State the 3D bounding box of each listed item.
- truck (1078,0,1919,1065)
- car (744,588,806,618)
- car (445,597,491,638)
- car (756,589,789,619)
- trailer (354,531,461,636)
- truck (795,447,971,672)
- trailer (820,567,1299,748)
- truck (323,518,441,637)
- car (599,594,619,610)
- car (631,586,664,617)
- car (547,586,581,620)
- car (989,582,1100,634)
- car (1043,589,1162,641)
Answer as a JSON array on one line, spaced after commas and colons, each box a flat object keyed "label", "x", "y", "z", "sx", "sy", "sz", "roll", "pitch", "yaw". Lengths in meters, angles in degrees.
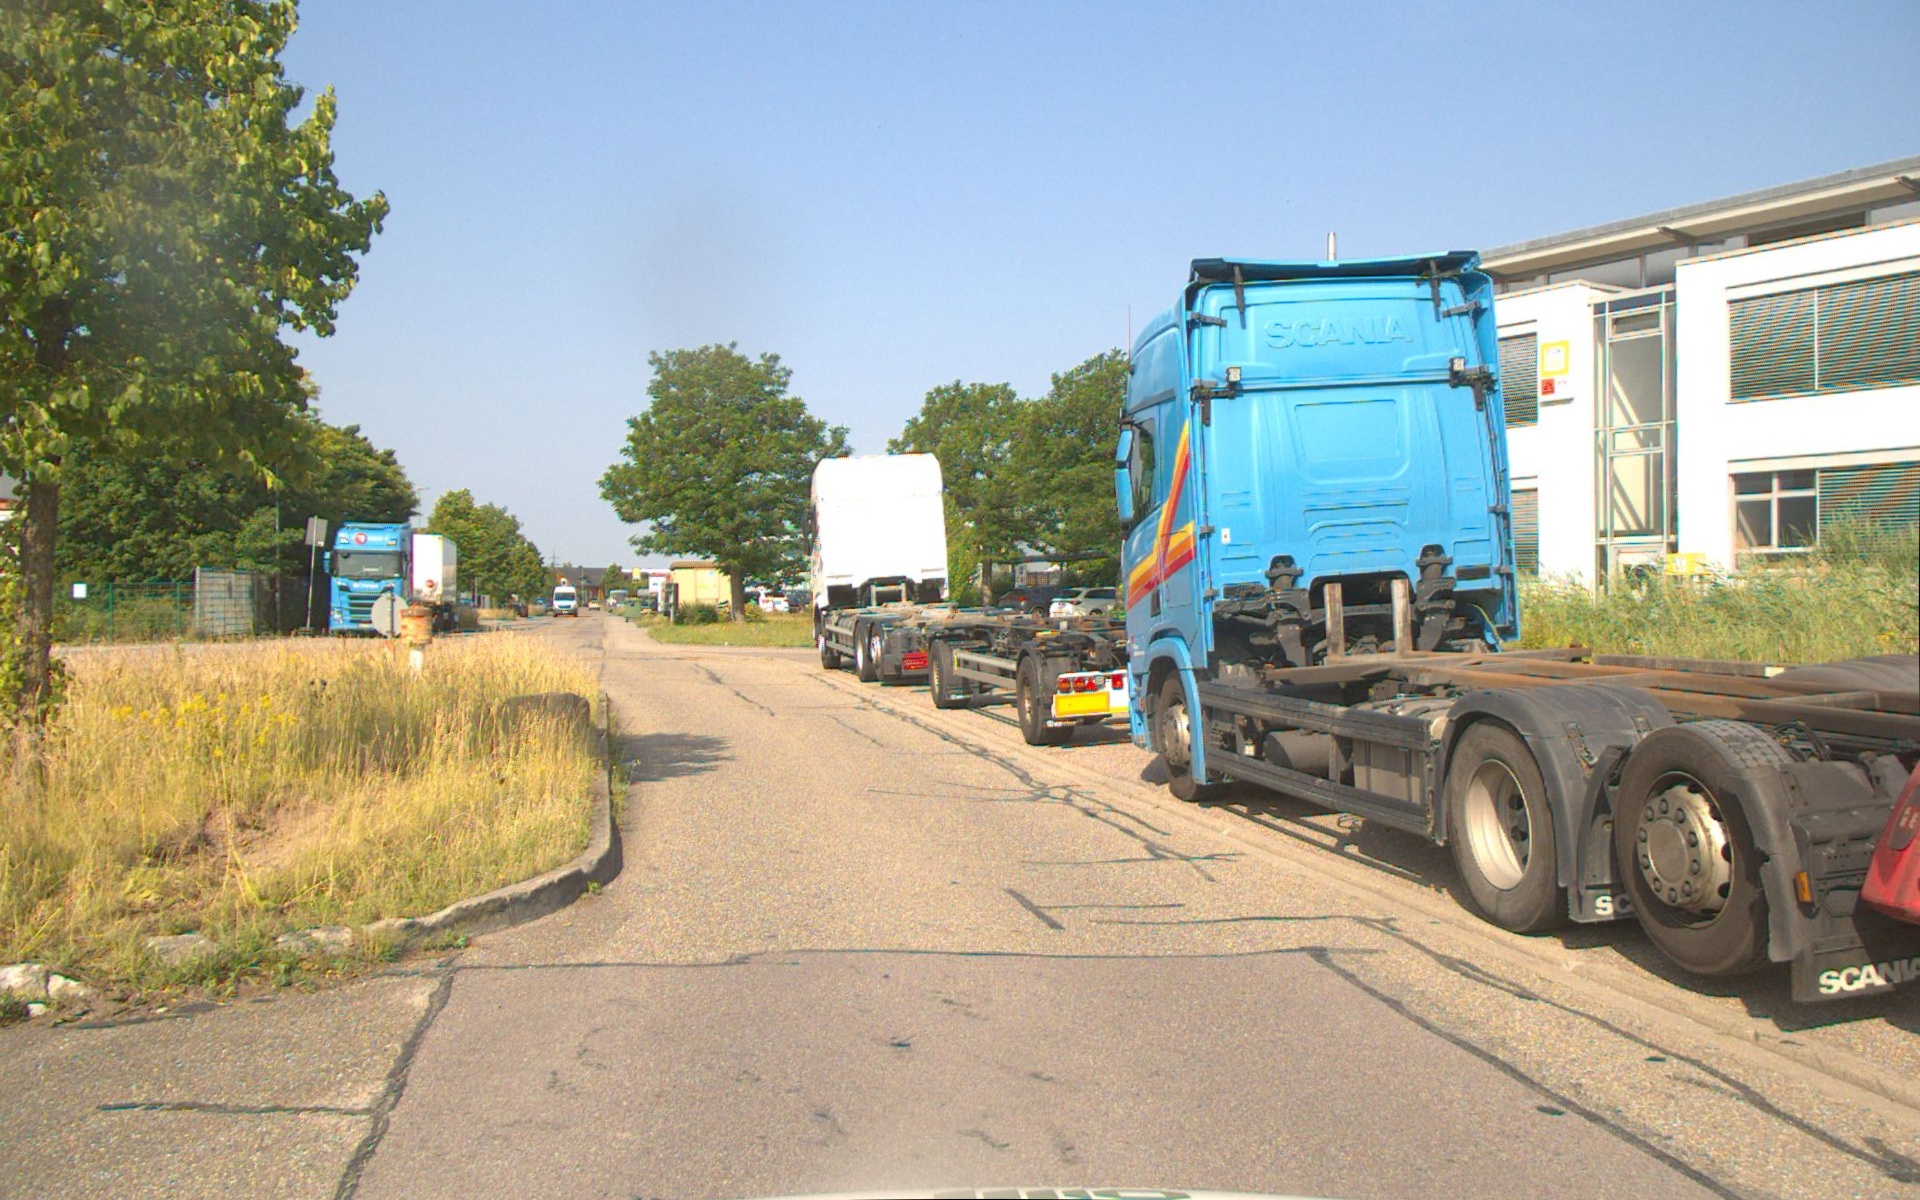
[{"label": "truck", "x": 3.443, "y": -0.395, "z": 9.347, "sx": 2.838, "sy": 3.596, "sz": 9.726, "roll": -4, "pitch": 0, "yaw": -11}, {"label": "car", "x": -8.725, "y": 0.157, "z": 77.822, "sx": 1.649, "sy": 1.353, "sz": 3.629, "roll": 2, "pitch": -2, "yaw": -28}, {"label": "car", "x": -25.449, "y": 0.876, "z": 85.458, "sx": 1.966, "sy": 2.049, "sz": 3.973, "roll": 0, "pitch": 0, "yaw": -22}, {"label": "car", "x": -10.749, "y": 0.254, "z": 94.861, "sx": 1.686, "sy": 1.646, "sz": 3.991, "roll": 1, "pitch": -1, "yaw": -9}, {"label": "trailer", "x": -22.558, "y": -0.496, "z": 68.136, "sx": 2.782, "sy": 3.910, "sz": 11.996, "roll": 2, "pitch": -1, "yaw": -12}, {"label": "truck", "x": -1.609, "y": -0.763, "z": 32.685, "sx": 2.698, "sy": 4.051, "sz": 3.988, "roll": -3, "pitch": 0, "yaw": -12}, {"label": "trailer", "x": 0.333, "y": 0.563, "z": 23.855, "sx": 2.698, "sy": 1.601, "sz": 16.122, "roll": -3, "pitch": 0, "yaw": -12}, {"label": "truck", "x": -20.777, "y": -0.662, "z": 59.947, "sx": 2.776, "sy": 3.893, "sz": 9.641, "roll": 2, "pitch": -1, "yaw": -12}, {"label": "car", "x": -42.304, "y": 0.299, "z": 199.308, "sx": 1.746, "sy": 1.847, "sz": 3.973, "roll": 2, "pitch": -2, "yaw": -22}, {"label": "car", "x": -19.246, "y": 0.109, "z": 101.730, "sx": 1.761, "sy": 1.781, "sz": 3.986, "roll": 2, "pitch": -2, "yaw": -13}, {"label": "car", "x": -33.681, "y": 0.291, "z": 140.659, "sx": 2.180, "sy": 2.733, "sz": 6.816, "roll": 2, "pitch": -2, "yaw": -18}, {"label": "car", "x": 3.176, "y": 0.334, "z": 61.593, "sx": 3.968, "sy": 1.798, "sz": 1.968, "roll": 3, "pitch": -2, "yaw": -44}, {"label": "car", "x": 5.082, "y": 0.557, "z": 58.950, "sx": 4.038, "sy": 1.731, "sz": 1.745, "roll": 2, "pitch": -2, "yaw": -34}]
